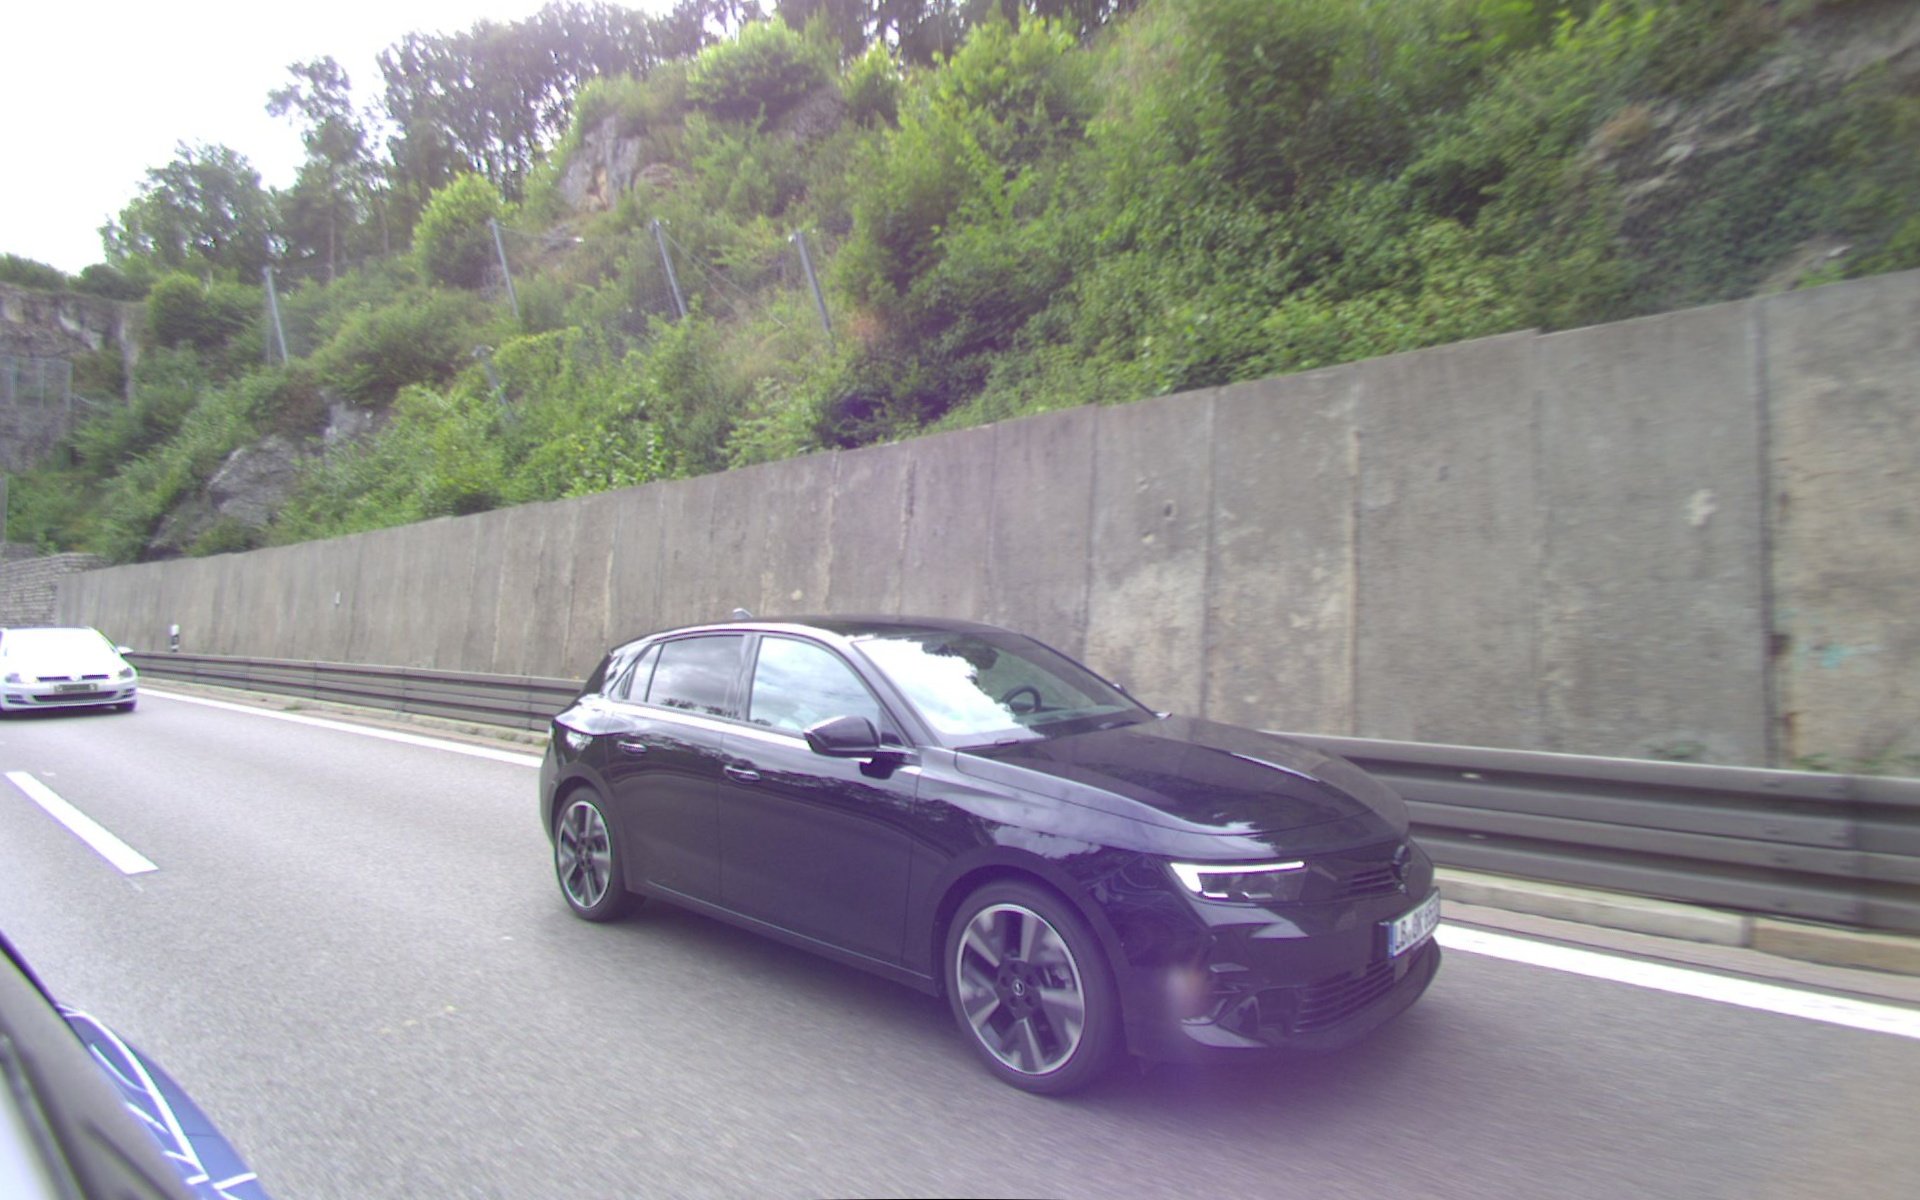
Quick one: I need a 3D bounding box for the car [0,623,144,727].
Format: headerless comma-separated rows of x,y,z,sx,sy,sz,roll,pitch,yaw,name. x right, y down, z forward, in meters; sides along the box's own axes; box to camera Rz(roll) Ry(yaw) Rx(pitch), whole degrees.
-15.522,1.169,17.183,4.625,1.493,1.826,-1,-1,41,car

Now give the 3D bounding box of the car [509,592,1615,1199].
-0.045,0.756,4.349,4.580,1.472,1.754,-1,0,42,car
